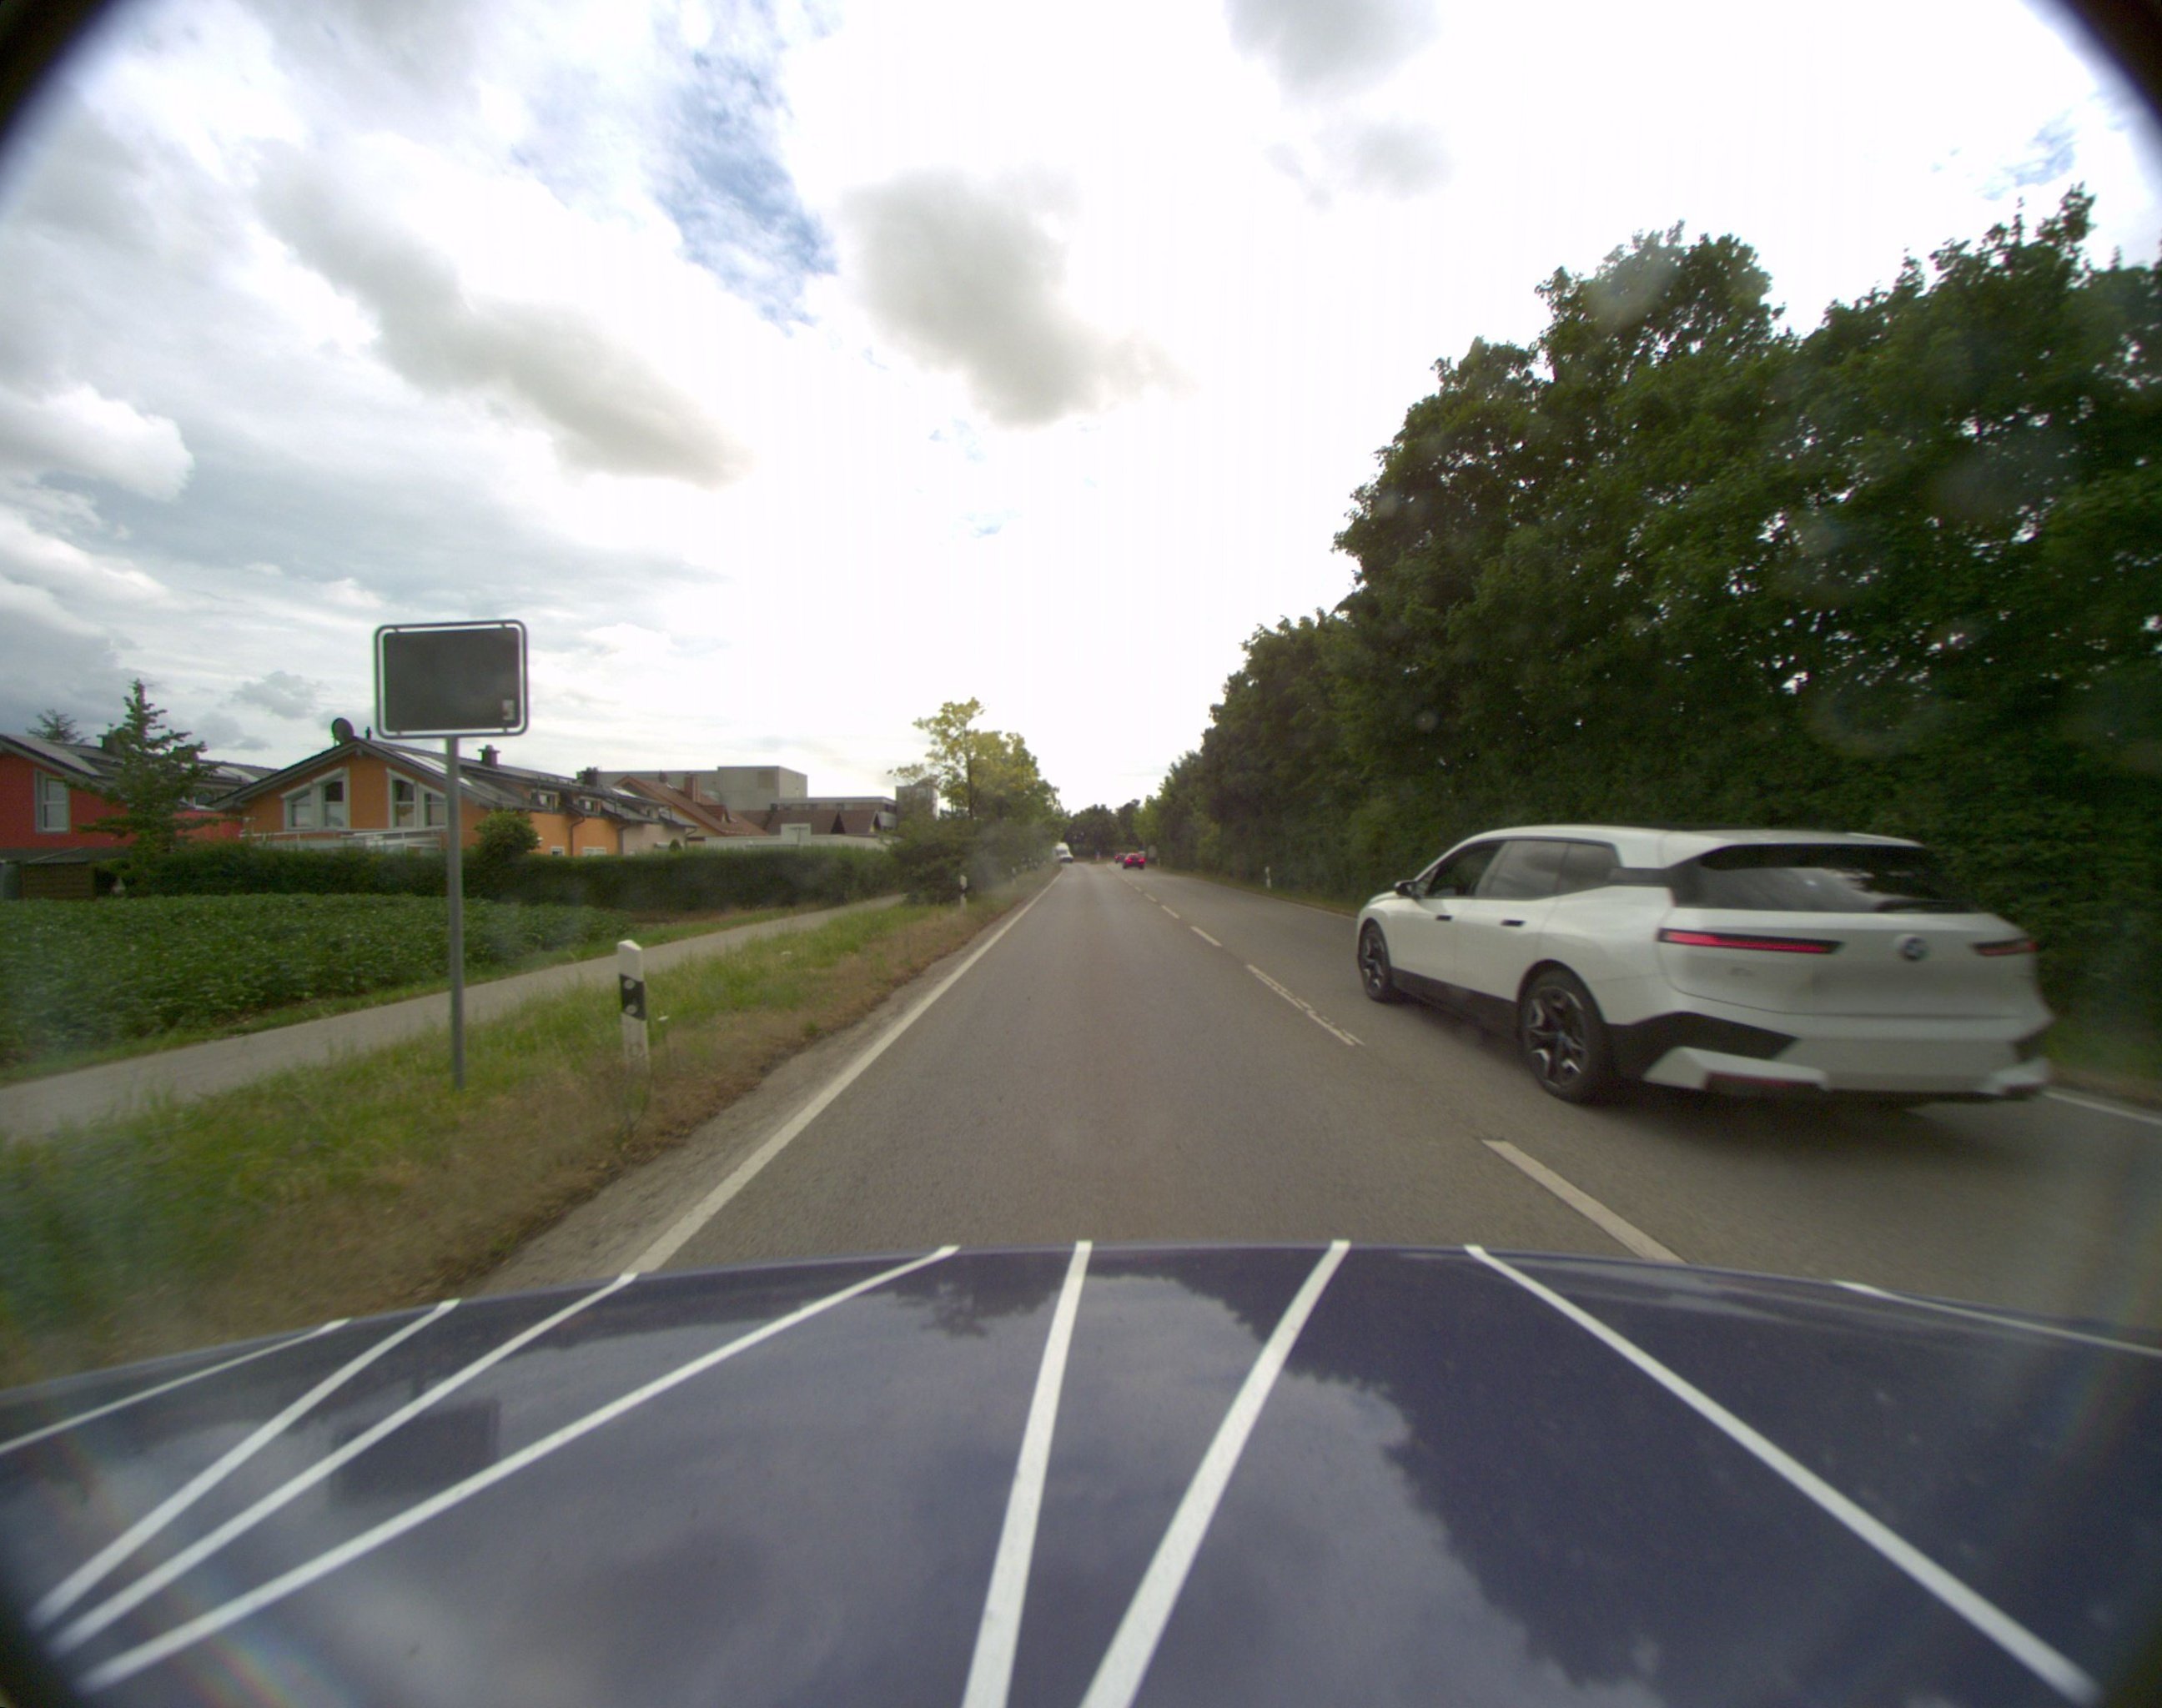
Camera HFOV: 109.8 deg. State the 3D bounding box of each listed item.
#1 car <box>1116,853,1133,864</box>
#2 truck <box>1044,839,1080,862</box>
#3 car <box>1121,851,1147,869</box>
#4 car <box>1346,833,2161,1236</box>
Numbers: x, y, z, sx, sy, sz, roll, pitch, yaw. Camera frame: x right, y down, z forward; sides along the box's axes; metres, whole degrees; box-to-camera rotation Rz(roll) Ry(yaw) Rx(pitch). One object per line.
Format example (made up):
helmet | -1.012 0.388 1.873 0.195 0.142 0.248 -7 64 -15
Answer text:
car | 6.256 0.633 110.314 1.999 1.411 4.476 1 1 -2
truck | -3.064 -0.562 119.796 2.620 3.428 7.490 -2 0 -28
car | 4.957 0.539 71.822 1.945 1.577 4.554 1 1 -2
car | 3.781 0.752 5.593 1.998 1.674 4.809 1 0 1
